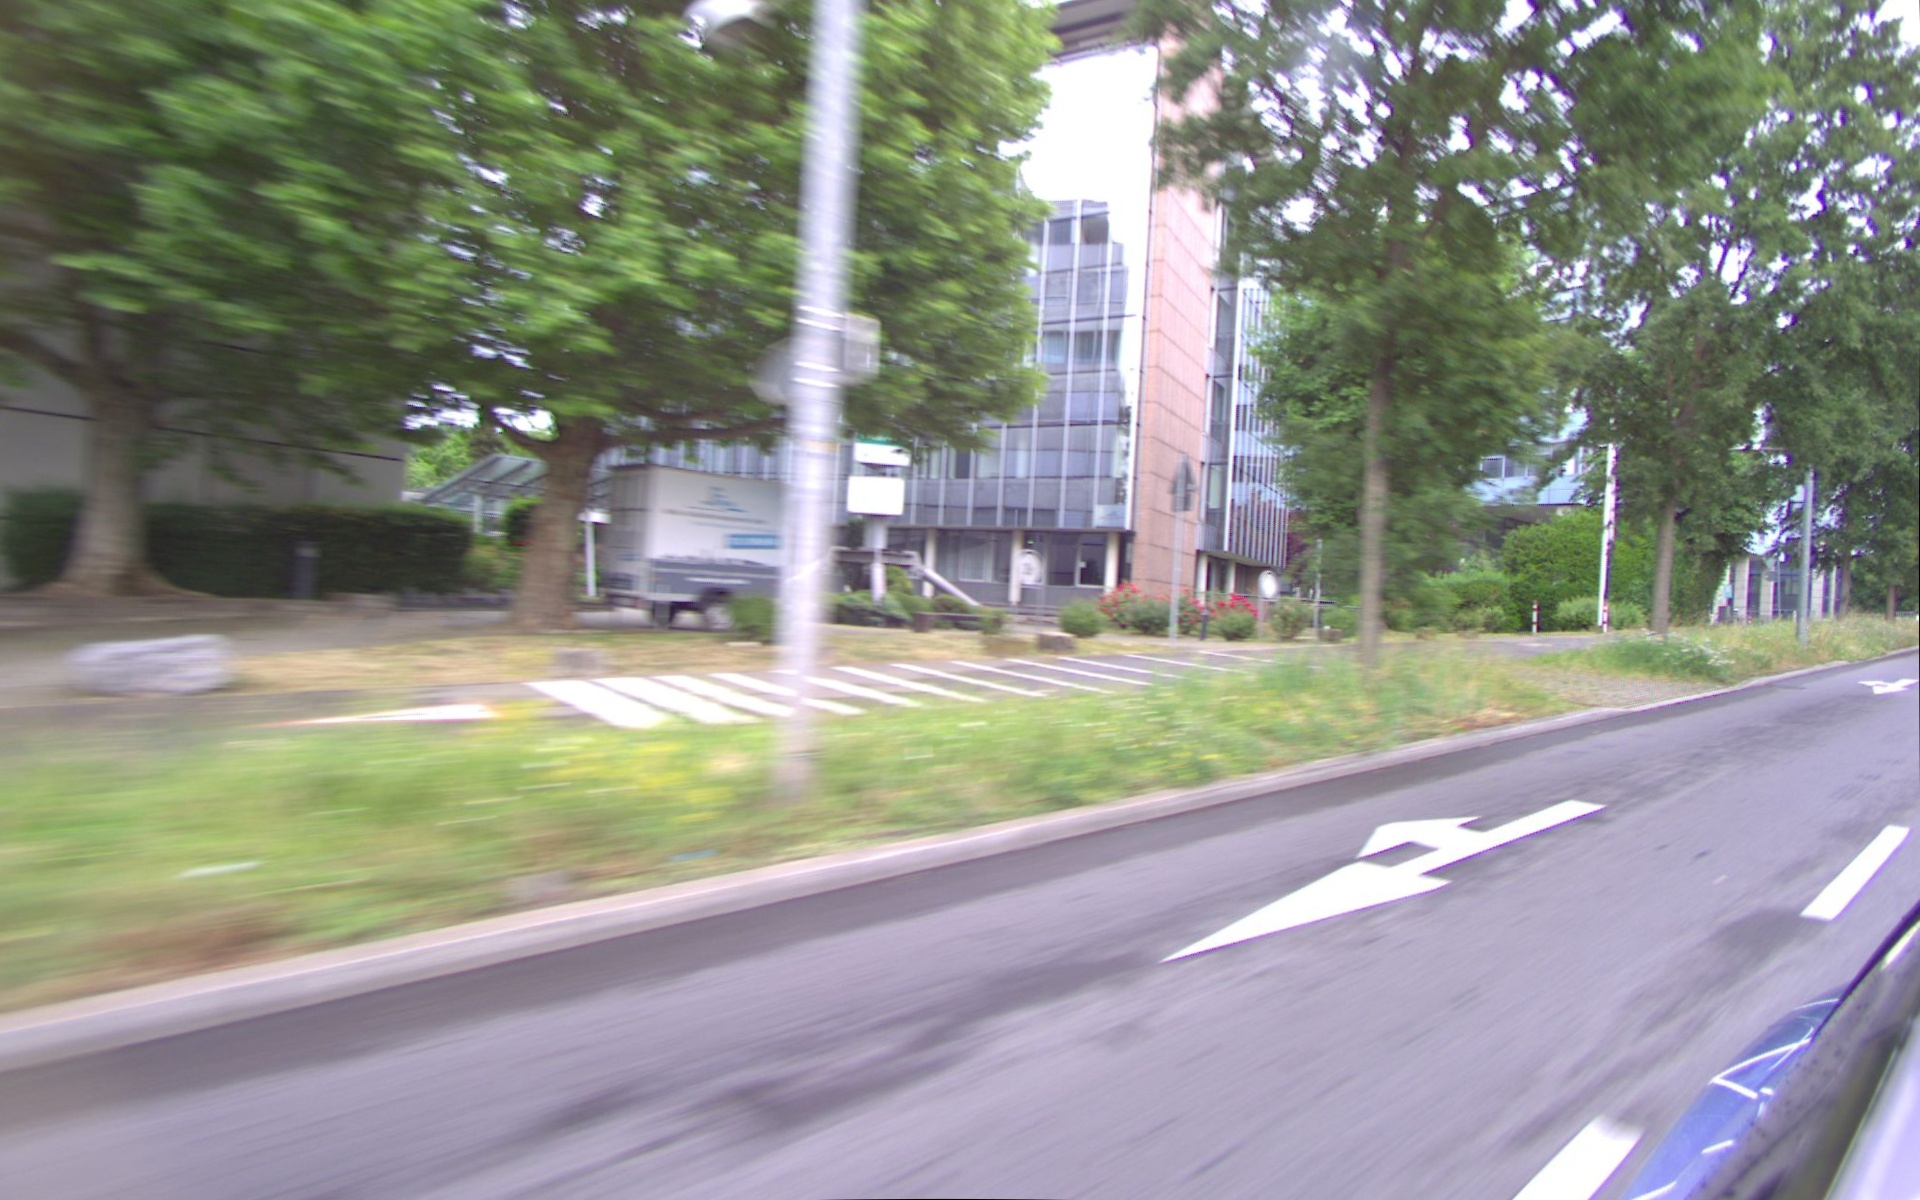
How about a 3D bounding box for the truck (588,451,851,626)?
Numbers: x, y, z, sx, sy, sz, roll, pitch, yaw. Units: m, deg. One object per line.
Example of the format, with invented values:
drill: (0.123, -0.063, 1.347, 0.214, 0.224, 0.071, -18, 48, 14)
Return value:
truck: (-3.896, -0.915, 16.787, 3.934, 2.549, 1.747, 0, 0, -44)
